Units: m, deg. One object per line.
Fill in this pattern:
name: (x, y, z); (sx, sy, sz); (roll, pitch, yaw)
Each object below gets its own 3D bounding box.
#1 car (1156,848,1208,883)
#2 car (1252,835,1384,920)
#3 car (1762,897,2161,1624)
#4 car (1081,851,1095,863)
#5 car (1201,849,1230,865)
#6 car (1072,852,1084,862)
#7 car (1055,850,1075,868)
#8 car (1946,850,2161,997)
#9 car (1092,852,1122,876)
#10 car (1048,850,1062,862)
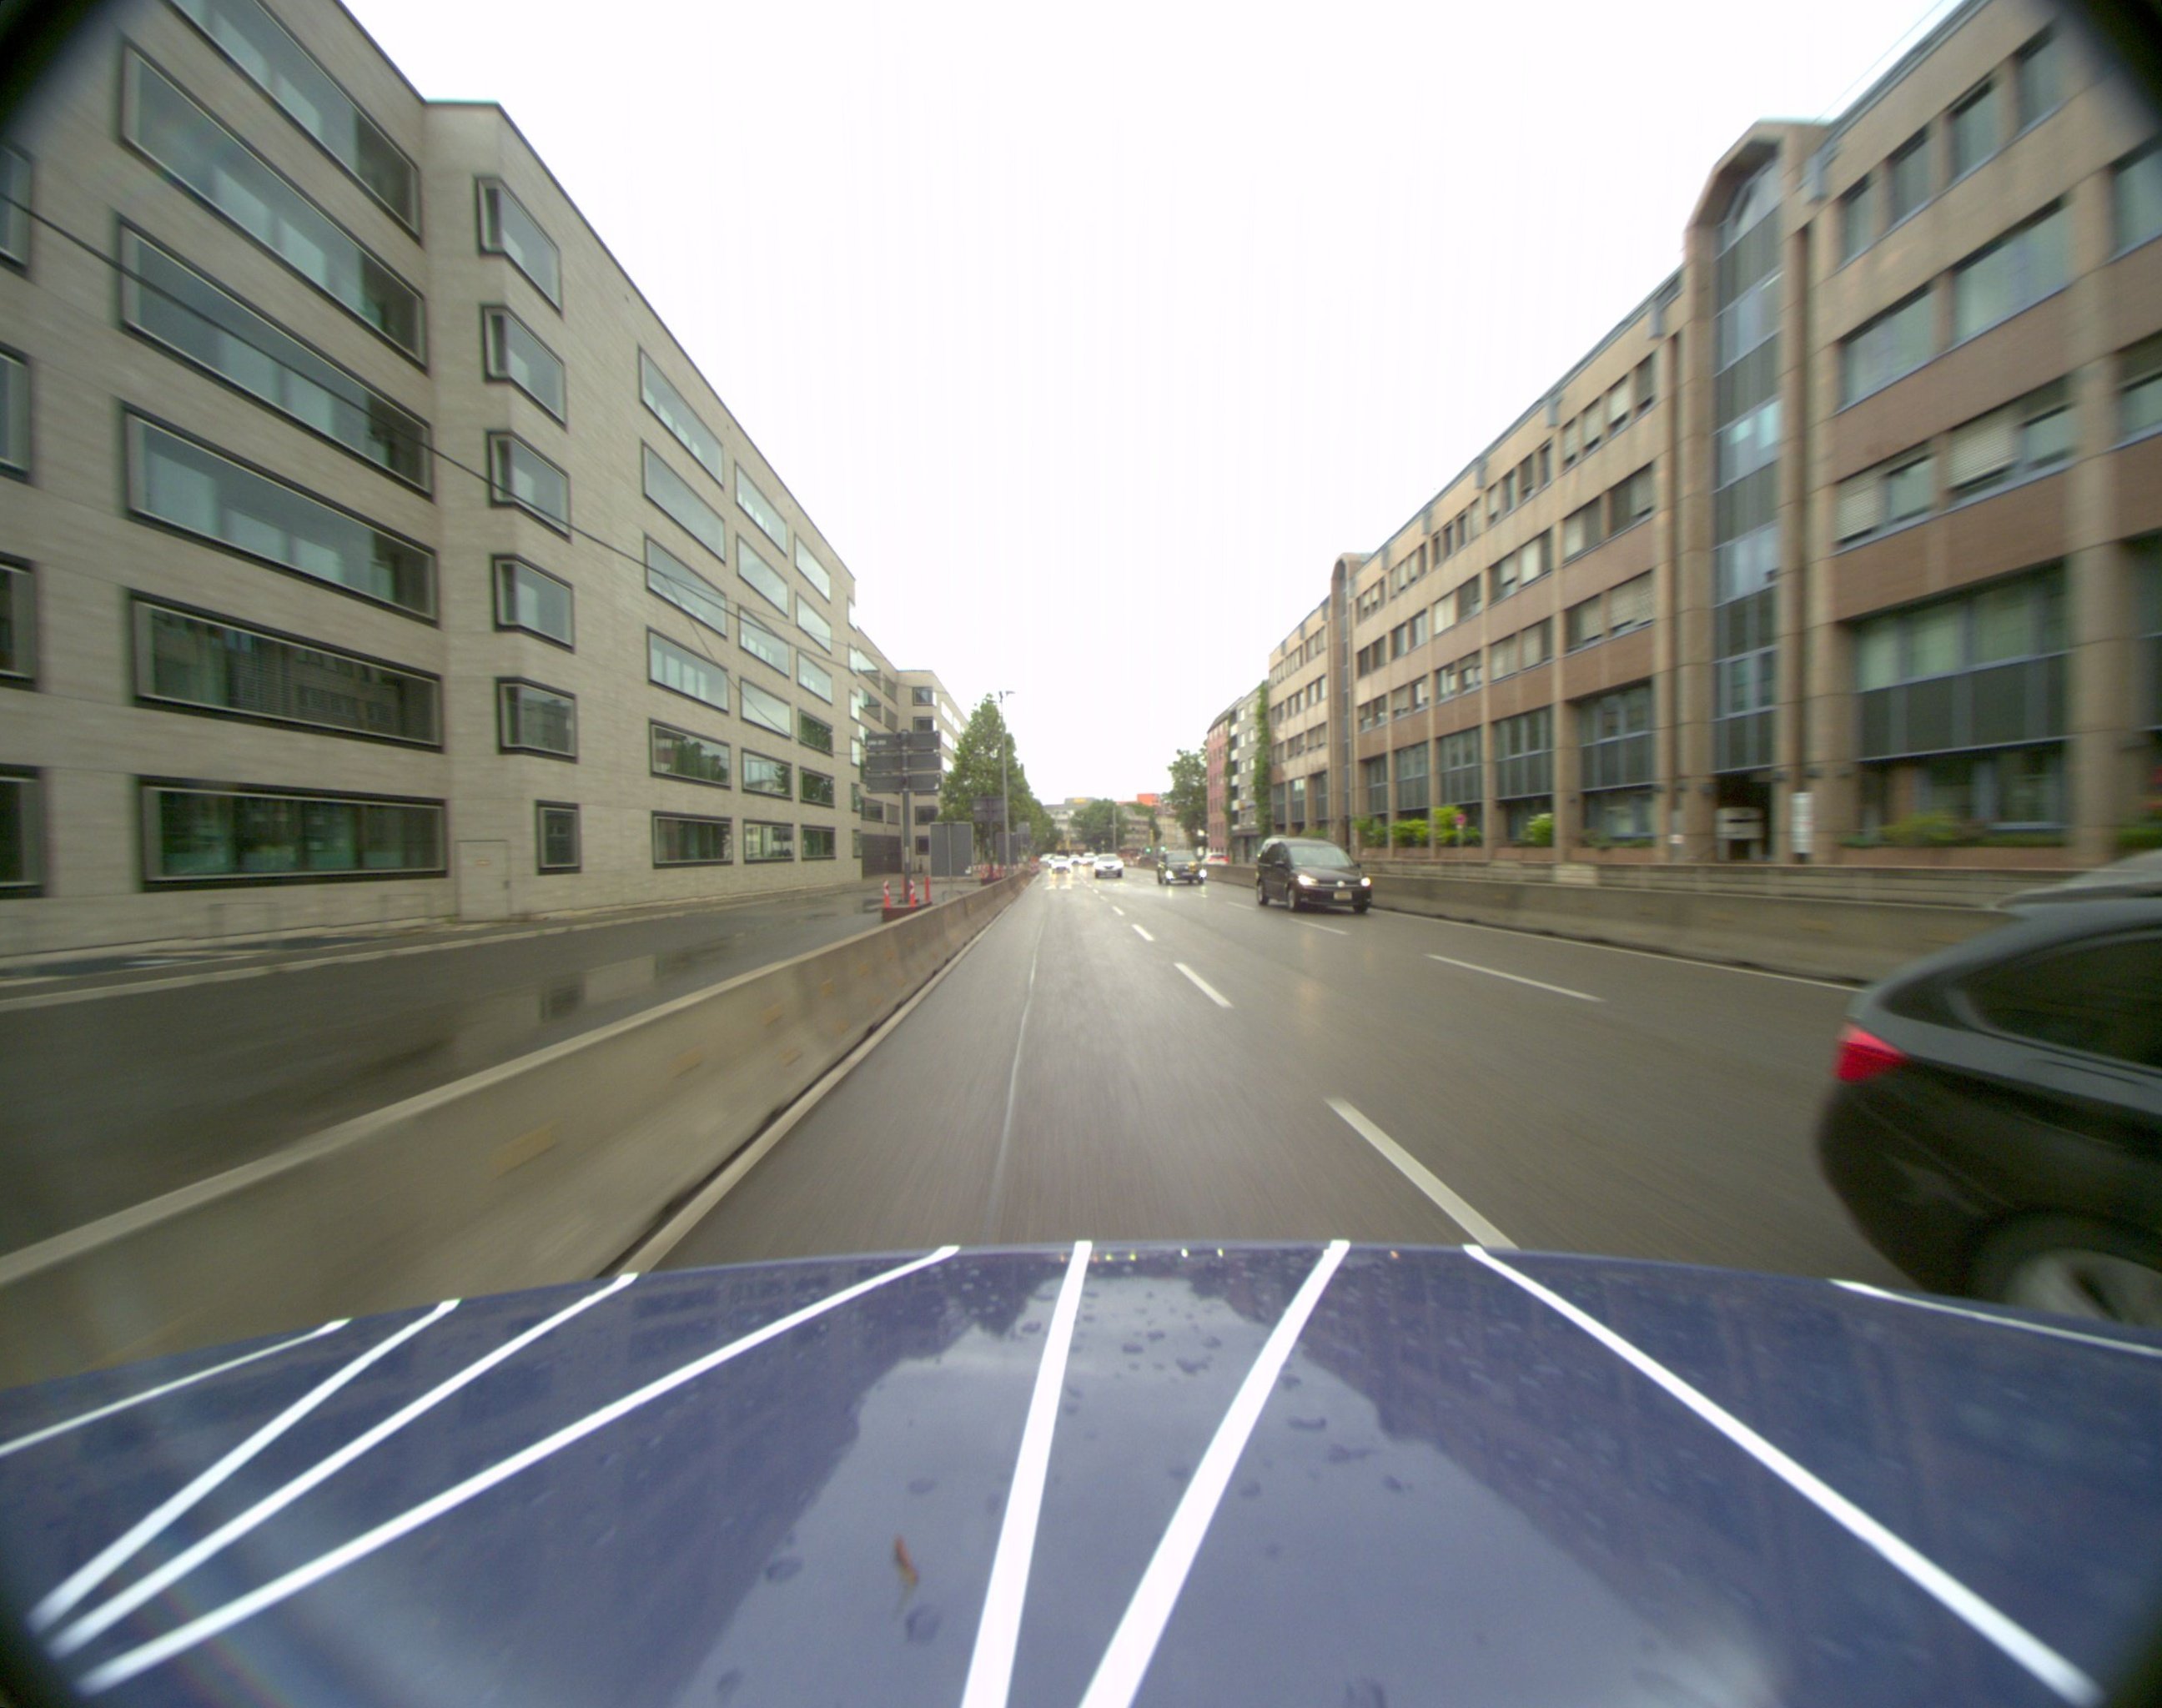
car: (4.804, 0.518, 36.722); (1.772, 1.524, 4.355); (-1, 0, -2)
car: (5.608, 0.494, 18.572); (1.799, 1.790, 4.250); (-2, 0, -1)
car: (3.138, 0.878, 0.171); (1.772, 1.435, 4.655); (-1, 0, 0)
car: (1.004, 0.406, 107.093); (1.772, 1.524, 4.655); (-1, 0, -2)
car: (11.318, 0.235, 64.141); (1.724, 1.312, 3.696); (-1, 0, -2)
car: (-0.552, 0.480, 119.694); (1.772, 1.524, 4.655); (-1, 0, -2)
car: (-1.483, 0.454, 70.762); (1.772, 1.524, 4.655); (-1, 0, -2)
car: (10.057, 0.598, 6.279); (1.616, 1.224, 3.727); (-1, 0, 2)
car: (1.756, 0.677, 52.504); (1.772, 1.524, 4.655); (-1, 0, -2)
car: (-3.476, 0.275, 103.273); (1.772, 1.524, 4.655); (-1, 0, -2)
